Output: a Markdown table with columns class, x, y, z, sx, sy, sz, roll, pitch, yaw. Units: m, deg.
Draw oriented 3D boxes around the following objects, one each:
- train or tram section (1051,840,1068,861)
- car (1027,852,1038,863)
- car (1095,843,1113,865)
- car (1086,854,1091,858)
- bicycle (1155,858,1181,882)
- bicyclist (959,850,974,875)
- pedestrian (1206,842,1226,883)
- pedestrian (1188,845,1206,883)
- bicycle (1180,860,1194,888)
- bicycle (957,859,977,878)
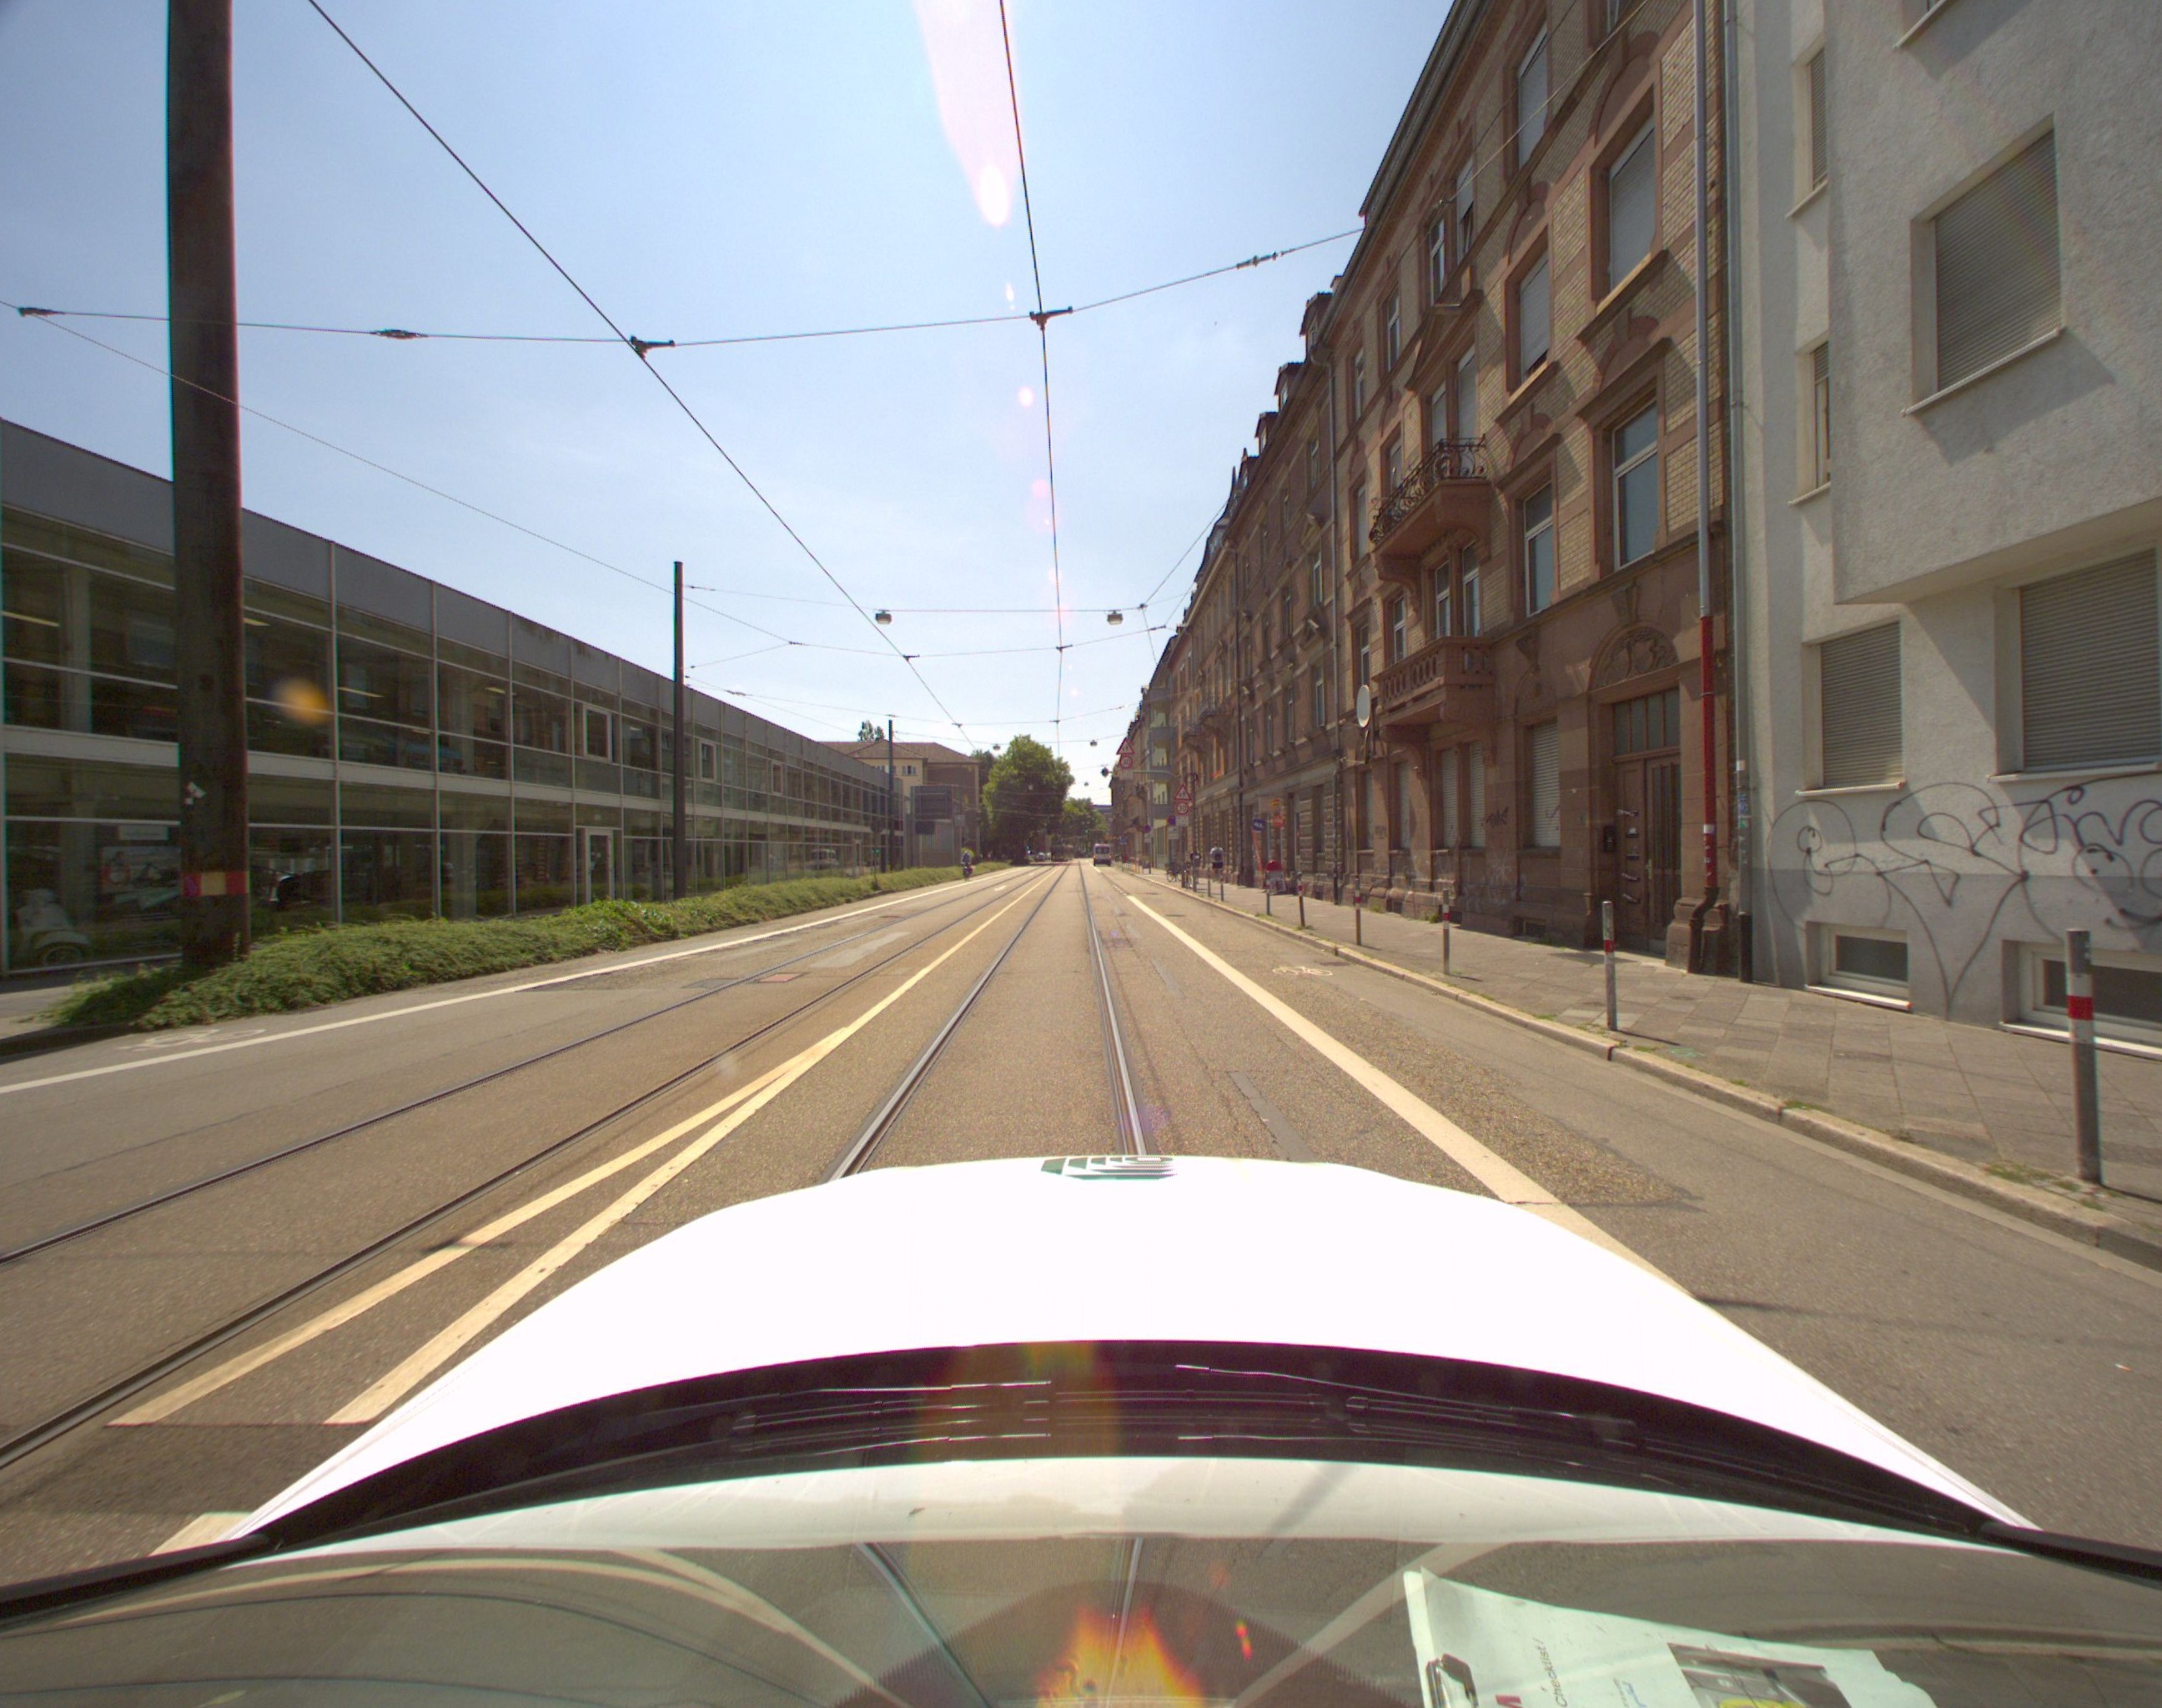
| class | x | y | z | sx | sy | sz | roll | pitch | yaw |
| --- | --- | --- | --- | --- | --- | --- | --- | --- | --- |
| train or tram section | -3.916 | -0.613 | 151.501 | 2.952 | 3.580 | 13.418 | -1 | 0 | -1 |
| car | -8.703 | 0.559 | 145.863 | 1.796 | 1.923 | 3.996 | 0 | 0 | -2 |
| car | 2.728 | -0.027 | 95.913 | 2.060 | 2.501 | 5.455 | 0 | 0 | 1 |
| car | 2.404 | 0.629 | 257.907 | 1.524 | 1.408 | 3.486 | 0 | 0 | -2 |
| bicycle | 4.459 | 0.801 | 41.760 | 0.494 | 1.130 | 2.257 | -1 | 0 | 28 |
| bicyclist | -6.990 | 0.517 | 49.912 | 0.695 | 1.548 | 0.981 | -1 | 0 | 3 |
| pedestrian | 6.296 | 0.405 | 37.928 | 0.700 | 1.849 | 0.644 | -4 | 0 | 1 |
| pedestrian | 5.419 | 0.458 | 37.996 | 0.718 | 1.720 | 0.644 | -1 | 0 | 0 |
| bicycle | 4.430 | 0.816 | 34.033 | 0.445 | 1.097 | 2.426 | -1 | 0 | 5 |
| bicycle | -6.979 | 0.875 | 49.983 | 0.695 | 1.144 | 2.498 | -1 | 0 | 4 |
